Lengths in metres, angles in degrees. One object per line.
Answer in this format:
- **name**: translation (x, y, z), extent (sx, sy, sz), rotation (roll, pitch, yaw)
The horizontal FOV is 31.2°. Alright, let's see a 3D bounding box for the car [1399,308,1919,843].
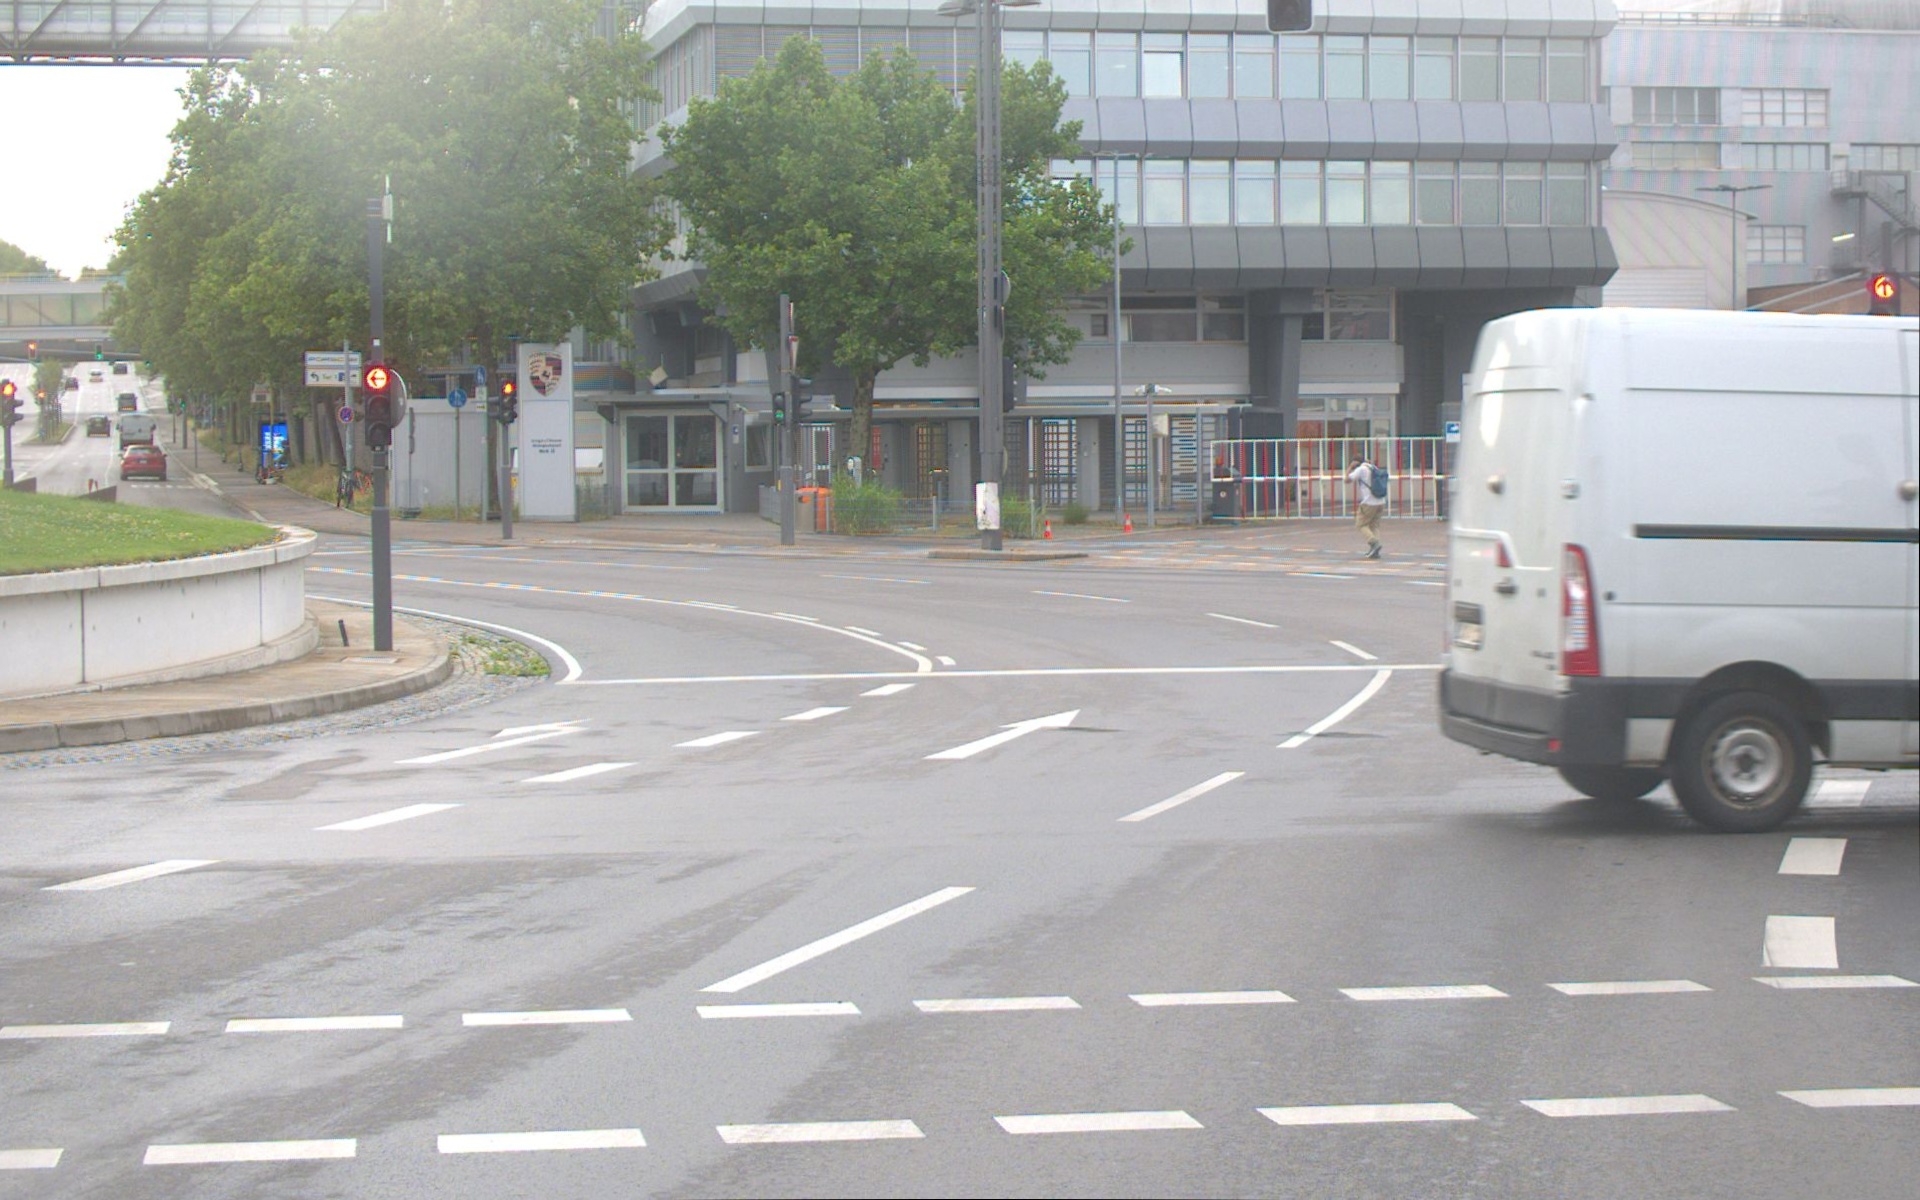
- **car**: translation (5.099, -0.180, 17.129), extent (5.407, 2.438, 2.001), rotation (-1, 2, -9)

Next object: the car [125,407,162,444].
- **car**: translation (-51.293, -10.963, 216.042), extent (2.232, 2.100, 4.956), rotation (-1, 0, -13)

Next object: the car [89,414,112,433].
- **car**: translation (-63.119, -12.944, 252.465), extent (1.556, 1.284, 3.415), rotation (-1, 0, -15)

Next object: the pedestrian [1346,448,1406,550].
- **pedestrian**: translation (6.644, -1.611, 54.906), extent (0.808, 1.605, 0.769), rotation (-1, 0, 17)

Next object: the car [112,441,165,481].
- **car**: translation (-33.056, -5.572, 138.245), extent (1.772, 1.459, 3.734), rotation (-1, 0, -18)
